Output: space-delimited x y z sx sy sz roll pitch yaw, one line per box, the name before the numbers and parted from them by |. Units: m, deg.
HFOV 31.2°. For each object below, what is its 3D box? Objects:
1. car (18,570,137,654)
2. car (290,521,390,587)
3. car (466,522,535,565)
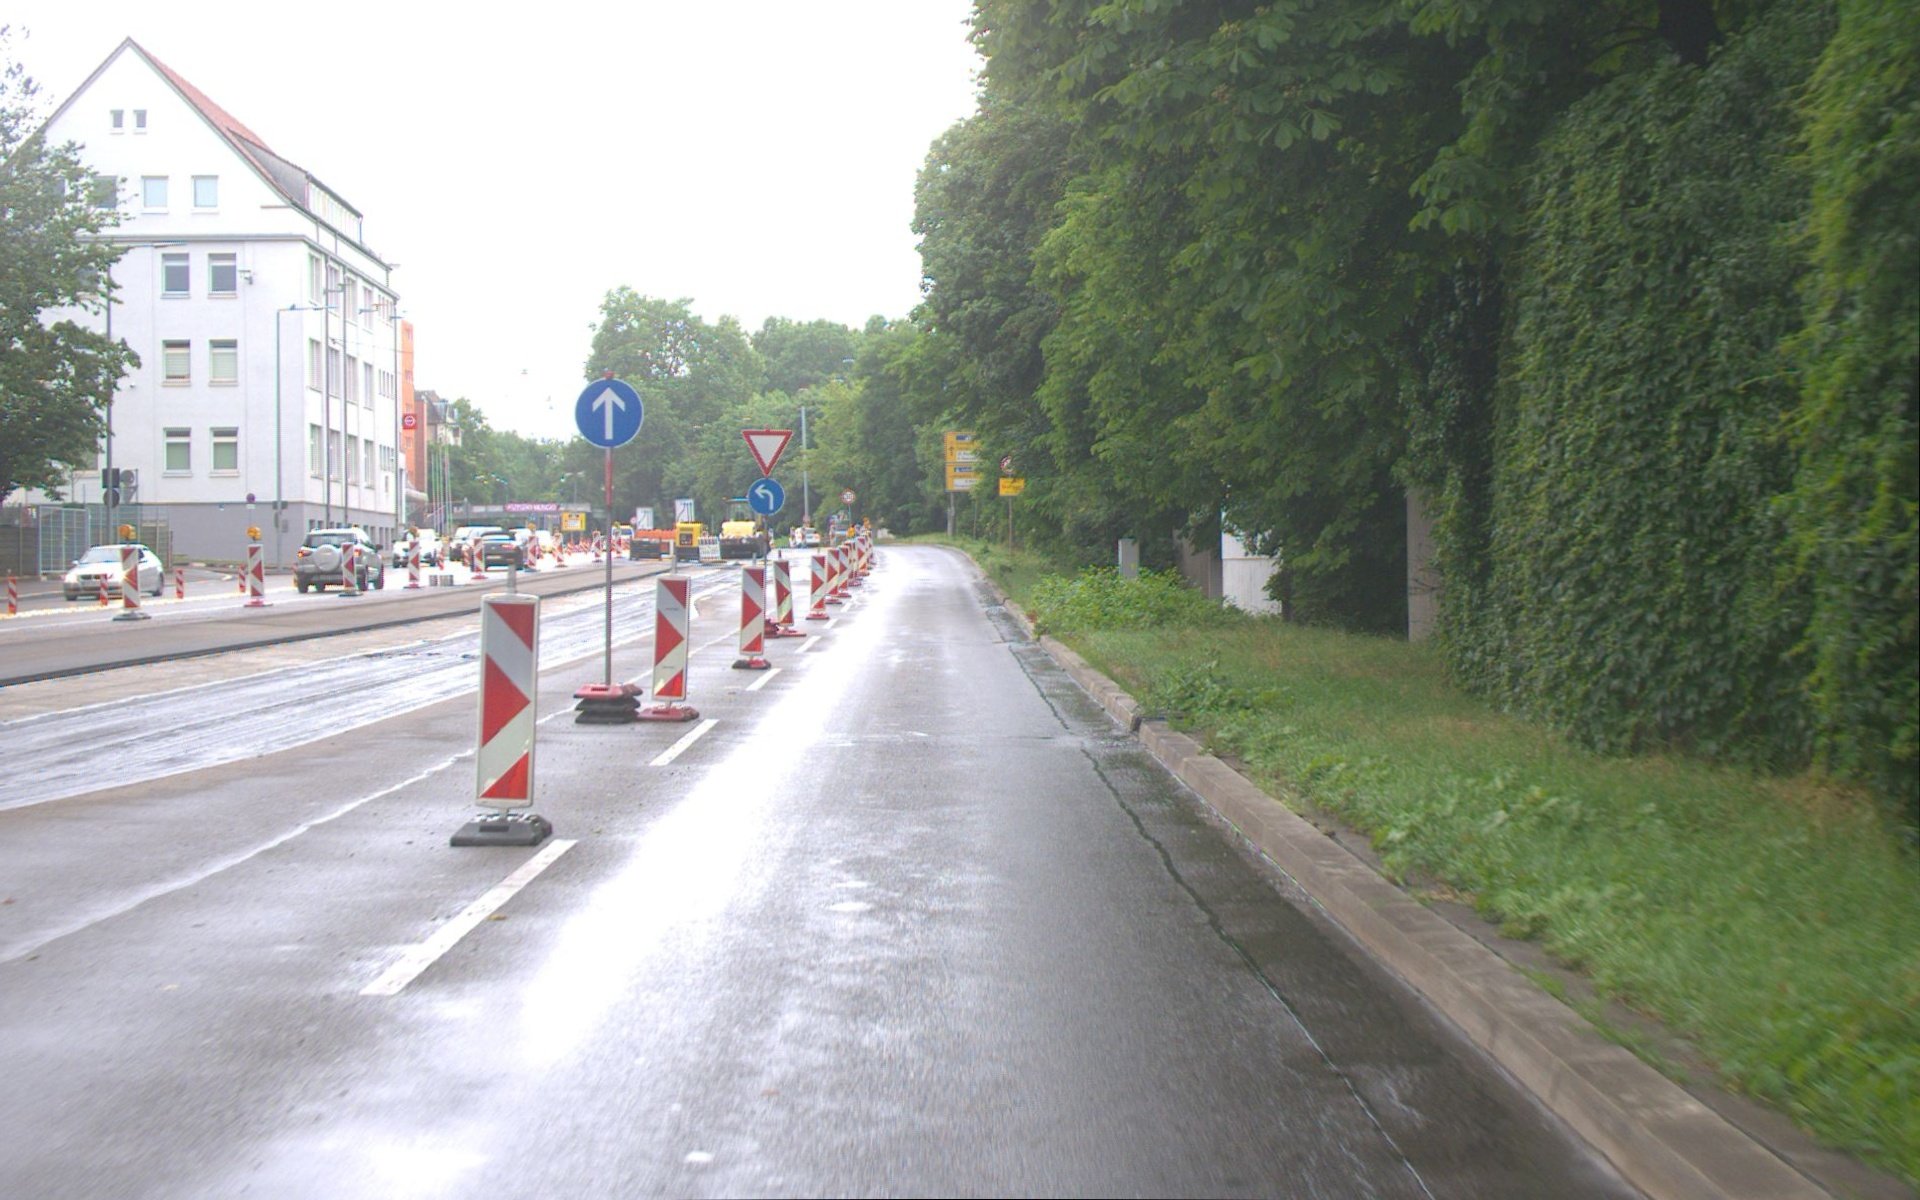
car | -21.902 0.273 85.488 1.993 2.007 4.000 1 1 -1
car | -15.893 -1.185 88.283 1.854 1.642 4.000 1 1 -1
car | -16.443 -2.019 123.155 1.993 1.514 4.000 1 1 -1
